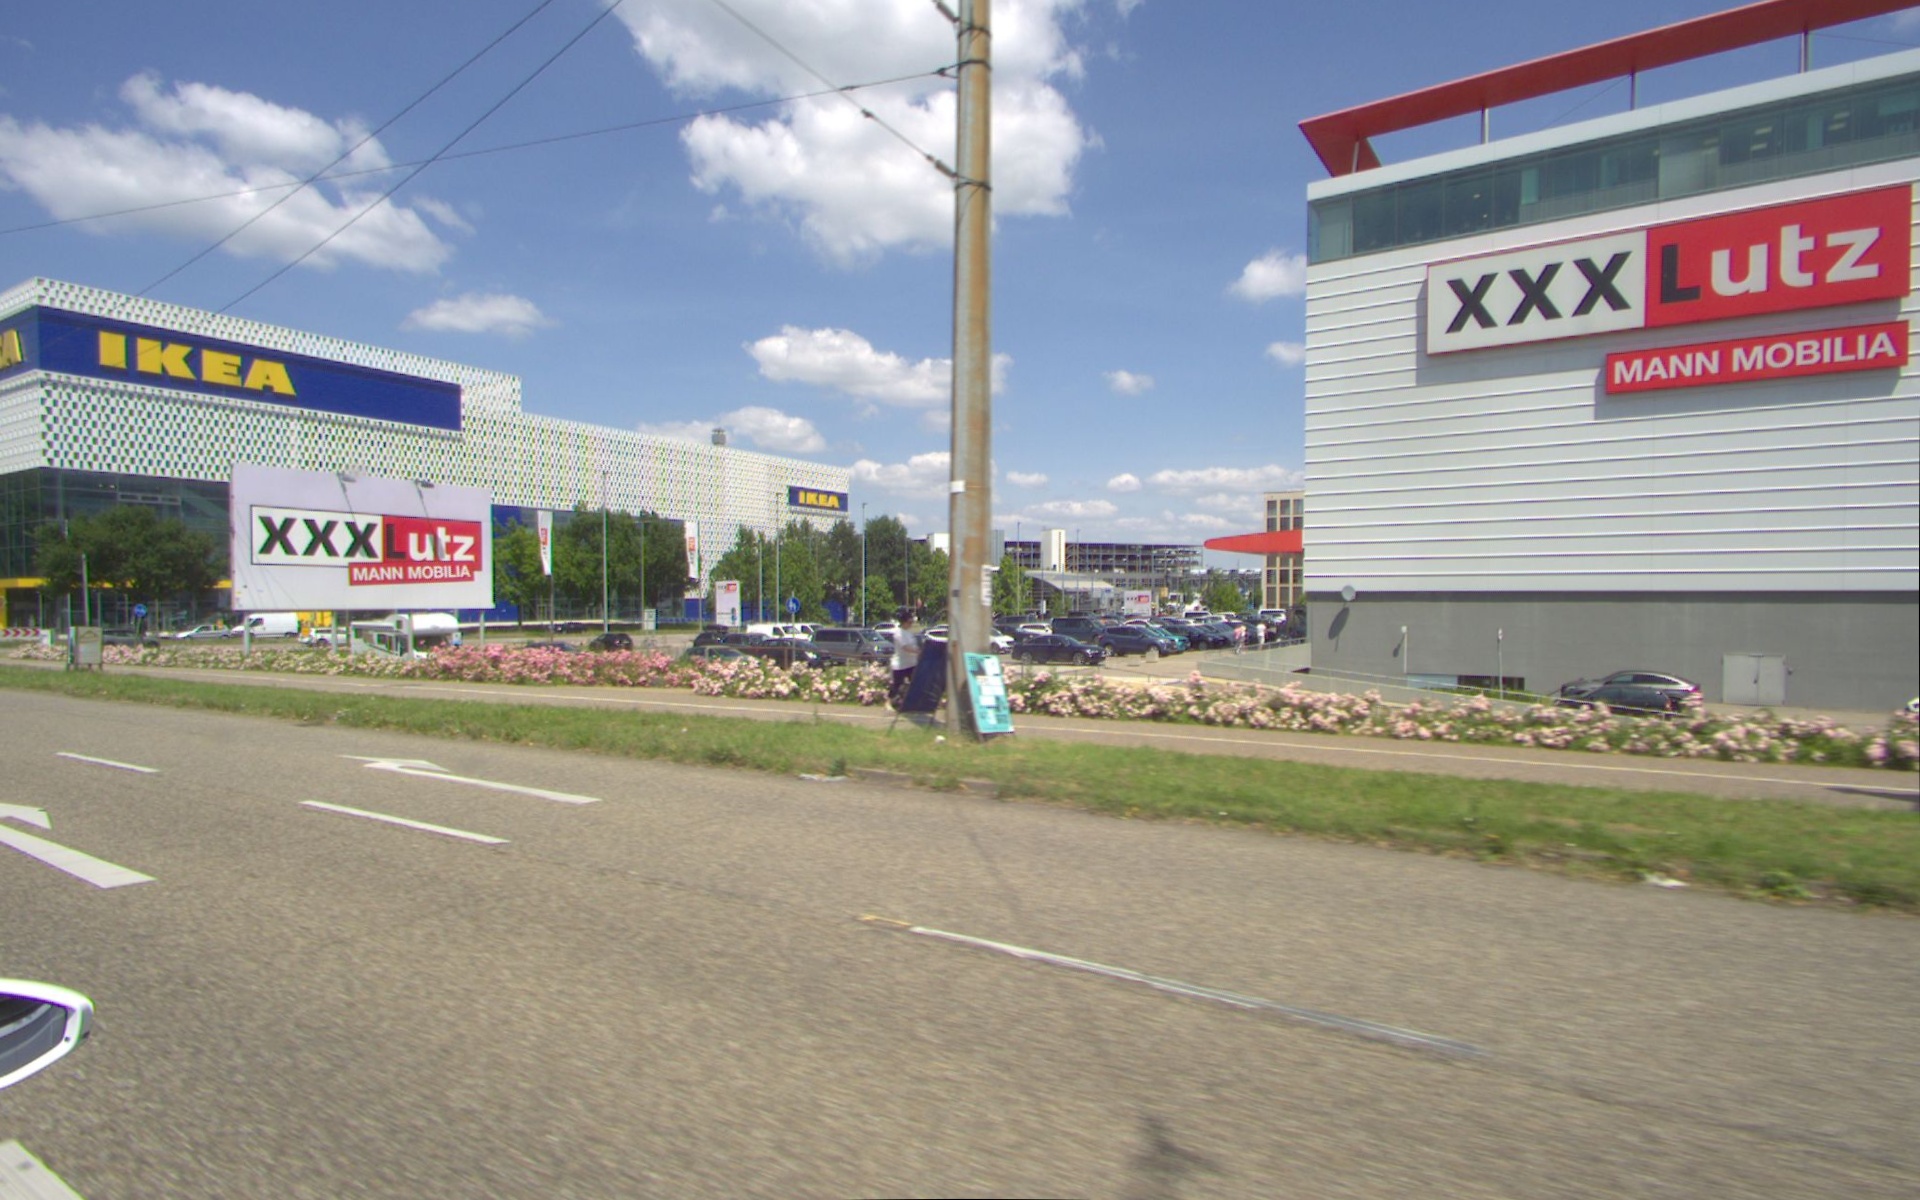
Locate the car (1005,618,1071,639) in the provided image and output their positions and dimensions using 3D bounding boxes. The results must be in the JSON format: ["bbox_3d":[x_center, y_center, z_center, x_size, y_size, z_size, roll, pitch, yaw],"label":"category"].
[{"bbox_3d":[6.231,2.299,80.280,4.930,1.631,1.990,-1,-1,33],"label":"car"}]

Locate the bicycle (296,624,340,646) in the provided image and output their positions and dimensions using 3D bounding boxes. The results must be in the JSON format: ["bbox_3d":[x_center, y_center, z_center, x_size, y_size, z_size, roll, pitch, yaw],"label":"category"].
[{"bbox_3d":[-45.122,2.455,70.360,0.976,1.500,2.415,0,-1,37],"label":"bicycle"}]

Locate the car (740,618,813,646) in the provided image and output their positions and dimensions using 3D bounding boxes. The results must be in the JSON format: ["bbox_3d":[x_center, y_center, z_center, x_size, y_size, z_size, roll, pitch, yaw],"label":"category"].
[{"bbox_3d":[-12.619,2.184,68.674,4.930,1.876,1.990,-1,-1,33],"label":"car"}]

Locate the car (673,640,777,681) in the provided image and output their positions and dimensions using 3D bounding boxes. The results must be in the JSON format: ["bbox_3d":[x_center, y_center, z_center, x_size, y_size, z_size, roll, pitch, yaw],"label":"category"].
[{"bbox_3d":[-10.234,2.579,43.580,4.242,1.517,1.988,-1,2,33],"label":"car"}]

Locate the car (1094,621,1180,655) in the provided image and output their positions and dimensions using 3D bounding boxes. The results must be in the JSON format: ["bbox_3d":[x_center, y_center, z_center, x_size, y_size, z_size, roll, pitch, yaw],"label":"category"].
[{"bbox_3d":[9.769,2.095,55.323,4.271,1.804,1.990,-1,-2,33],"label":"car"}]

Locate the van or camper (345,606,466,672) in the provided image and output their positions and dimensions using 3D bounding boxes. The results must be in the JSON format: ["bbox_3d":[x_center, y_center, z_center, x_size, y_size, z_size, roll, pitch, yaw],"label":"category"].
[{"bbox_3d":[-27.422,1.885,49.438,7.129,3.059,2.499,-1,-1,37],"label":"van or camper"}]

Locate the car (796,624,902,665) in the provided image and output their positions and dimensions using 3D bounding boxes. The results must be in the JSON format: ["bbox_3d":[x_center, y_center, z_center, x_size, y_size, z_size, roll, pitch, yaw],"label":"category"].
[{"bbox_3d":[-5.765,2.268,51.856,5.456,2.039,1.990,-1,-1,33],"label":"car"}]

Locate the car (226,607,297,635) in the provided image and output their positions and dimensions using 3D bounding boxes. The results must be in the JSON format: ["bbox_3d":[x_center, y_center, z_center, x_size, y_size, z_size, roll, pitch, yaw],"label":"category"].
[{"bbox_3d":[-60.726,1.854,87.087,1.975,2.338,4.742,0,-1,38],"label":"car"}]

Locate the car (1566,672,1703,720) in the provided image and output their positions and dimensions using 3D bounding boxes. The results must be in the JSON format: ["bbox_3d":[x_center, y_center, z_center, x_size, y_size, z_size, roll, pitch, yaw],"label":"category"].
[{"bbox_3d":[27.202,3.838,40.584,4.524,1.633,1.990,-1,-1,32],"label":"car"}]

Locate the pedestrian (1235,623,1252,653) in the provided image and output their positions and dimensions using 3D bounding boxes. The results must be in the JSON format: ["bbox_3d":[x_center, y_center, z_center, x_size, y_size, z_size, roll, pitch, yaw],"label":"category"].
[{"bbox_3d":[15.197,2.019,53.615,0.725,1.578,0.739,0,-1,30],"label":"pedestrian"}]

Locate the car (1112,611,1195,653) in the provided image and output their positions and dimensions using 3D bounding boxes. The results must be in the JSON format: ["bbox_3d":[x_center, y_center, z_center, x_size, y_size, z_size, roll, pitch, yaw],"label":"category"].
[{"bbox_3d":[11.130,1.821,57.631,4.271,2.357,1.990,0,-2,33],"label":"car"}]

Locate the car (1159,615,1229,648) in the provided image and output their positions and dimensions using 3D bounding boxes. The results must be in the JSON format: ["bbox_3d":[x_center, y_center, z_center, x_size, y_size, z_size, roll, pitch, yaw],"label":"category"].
[{"bbox_3d":[15.127,2.030,64.766,3.943,2.039,1.990,0,-1,32],"label":"car"}]

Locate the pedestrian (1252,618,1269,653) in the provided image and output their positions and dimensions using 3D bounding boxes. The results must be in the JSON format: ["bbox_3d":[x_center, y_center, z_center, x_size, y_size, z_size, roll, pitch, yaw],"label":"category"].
[{"bbox_3d":[16.243,1.897,54.101,0.725,1.893,0.739,0,-1,30],"label":"pedestrian"}]

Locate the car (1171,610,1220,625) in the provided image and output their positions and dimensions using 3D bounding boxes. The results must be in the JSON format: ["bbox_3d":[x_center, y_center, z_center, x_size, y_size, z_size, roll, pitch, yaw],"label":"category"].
[{"bbox_3d":[25.972,1.897,110.464,4.930,1.631,1.990,-1,-1,33],"label":"car"}]

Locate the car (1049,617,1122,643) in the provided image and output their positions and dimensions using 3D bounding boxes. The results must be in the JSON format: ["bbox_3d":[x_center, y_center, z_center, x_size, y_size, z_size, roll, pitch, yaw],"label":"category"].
[{"bbox_3d":[9.324,2.240,74.505,5.106,1.889,1.991,0,-1,31],"label":"car"}]

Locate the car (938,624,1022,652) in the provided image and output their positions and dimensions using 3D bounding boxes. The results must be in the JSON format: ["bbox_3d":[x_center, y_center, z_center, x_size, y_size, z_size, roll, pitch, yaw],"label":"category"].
[{"bbox_3d":[1.224,2.335,62.506,4.930,1.672,1.990,-1,-1,33],"label":"car"}]

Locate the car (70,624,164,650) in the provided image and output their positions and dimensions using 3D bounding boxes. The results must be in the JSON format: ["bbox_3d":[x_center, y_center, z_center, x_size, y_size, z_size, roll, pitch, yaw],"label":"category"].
[{"bbox_3d":[-52.164,2.296,62.067,1.961,1.505,4.146,1,-2,8],"label":"car"}]

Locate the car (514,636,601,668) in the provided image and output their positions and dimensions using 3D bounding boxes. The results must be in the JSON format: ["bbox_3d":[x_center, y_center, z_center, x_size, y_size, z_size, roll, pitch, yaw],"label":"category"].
[{"bbox_3d":[-21.695,2.759,53.935,4.702,1.558,1.989,-1,0,33],"label":"car"}]

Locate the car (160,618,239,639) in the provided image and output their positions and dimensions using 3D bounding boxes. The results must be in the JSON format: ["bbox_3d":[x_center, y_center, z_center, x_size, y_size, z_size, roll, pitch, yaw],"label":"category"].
[{"bbox_3d":[-58.811,2.209,77.525,1.974,1.505,4.485,0,-2,36],"label":"car"}]

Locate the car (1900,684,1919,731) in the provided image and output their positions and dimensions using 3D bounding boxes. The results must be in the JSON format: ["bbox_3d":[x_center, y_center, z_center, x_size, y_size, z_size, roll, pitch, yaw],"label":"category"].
[{"bbox_3d":[37.338,4.008,36.641,3.943,1.633,1.990,-1,-1,32],"label":"car"}]

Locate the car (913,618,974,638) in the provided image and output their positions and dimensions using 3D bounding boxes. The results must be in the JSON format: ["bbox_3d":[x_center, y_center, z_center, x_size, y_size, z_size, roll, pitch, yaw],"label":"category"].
[{"bbox_3d":[-1.423,2.393,84.942,4.930,1.631,1.990,-1,-1,33],"label":"car"}]

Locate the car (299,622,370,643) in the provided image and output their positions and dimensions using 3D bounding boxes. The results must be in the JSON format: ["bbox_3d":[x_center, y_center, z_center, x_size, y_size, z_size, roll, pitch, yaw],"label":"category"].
[{"bbox_3d":[-48.991,2.542,78.447,1.979,1.505,4.352,-1,-3,44],"label":"car"}]

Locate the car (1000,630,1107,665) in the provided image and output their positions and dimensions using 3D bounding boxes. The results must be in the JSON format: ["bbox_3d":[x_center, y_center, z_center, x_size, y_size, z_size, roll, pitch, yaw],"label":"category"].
[{"bbox_3d":[4.592,2.290,49.355,4.930,1.631,1.990,-1,-1,33],"label":"car"}]

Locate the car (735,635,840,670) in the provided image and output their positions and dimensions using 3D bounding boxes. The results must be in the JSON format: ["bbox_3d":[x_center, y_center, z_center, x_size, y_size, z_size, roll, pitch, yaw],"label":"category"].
[{"bbox_3d":[-8.239,2.468,47.741,4.930,1.570,1.990,-1,-1,33],"label":"car"}]

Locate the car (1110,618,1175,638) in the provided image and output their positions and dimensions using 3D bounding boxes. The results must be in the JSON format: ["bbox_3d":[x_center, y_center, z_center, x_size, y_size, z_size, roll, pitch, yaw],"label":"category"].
[{"bbox_3d":[15.080,2.291,82.683,4.930,1.631,1.990,-1,-1,33],"label":"car"}]

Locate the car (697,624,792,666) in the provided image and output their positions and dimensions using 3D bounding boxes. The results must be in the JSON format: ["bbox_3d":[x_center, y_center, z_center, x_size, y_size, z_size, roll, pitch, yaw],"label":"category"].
[{"bbox_3d":[-11.372,2.328,52.821,4.930,2.041,1.989,-1,1,33],"label":"car"}]

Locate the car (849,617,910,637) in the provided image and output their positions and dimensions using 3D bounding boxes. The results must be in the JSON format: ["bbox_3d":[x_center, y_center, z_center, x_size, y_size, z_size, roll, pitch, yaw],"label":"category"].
[{"bbox_3d":[-6.842,2.304,85.211,4.922,1.631,1.993,0,-1,27],"label":"car"}]

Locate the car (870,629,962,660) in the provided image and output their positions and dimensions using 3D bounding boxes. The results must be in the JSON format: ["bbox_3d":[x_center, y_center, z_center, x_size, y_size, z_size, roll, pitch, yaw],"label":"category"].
[{"bbox_3d":[-2.475,2.423,55.840,4.930,1.631,1.990,-1,-1,33],"label":"car"}]

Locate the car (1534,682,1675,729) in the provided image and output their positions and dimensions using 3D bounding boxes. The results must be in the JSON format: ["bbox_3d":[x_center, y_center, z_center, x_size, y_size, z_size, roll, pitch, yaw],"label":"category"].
[{"bbox_3d":[23.717,3.856,37.044,4.288,1.416,1.991,-1,-1,31],"label":"car"}]

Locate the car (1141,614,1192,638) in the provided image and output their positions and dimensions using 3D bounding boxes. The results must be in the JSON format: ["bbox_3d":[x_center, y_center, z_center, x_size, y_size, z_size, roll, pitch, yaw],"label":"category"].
[{"bbox_3d":[18.088,2.277,87.774,3.943,2.040,1.990,-1,-1,32],"label":"car"}]

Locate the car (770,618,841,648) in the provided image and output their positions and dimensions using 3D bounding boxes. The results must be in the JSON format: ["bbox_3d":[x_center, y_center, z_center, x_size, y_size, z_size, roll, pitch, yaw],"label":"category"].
[{"bbox_3d":[-10.930,2.332,70.649,4.930,2.033,1.990,-1,-1,33],"label":"car"}]

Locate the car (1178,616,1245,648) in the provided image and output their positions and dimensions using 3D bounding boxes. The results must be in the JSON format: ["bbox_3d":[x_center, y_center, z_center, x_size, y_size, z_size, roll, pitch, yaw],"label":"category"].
[{"bbox_3d":[16.786,2.115,66.804,3.943,2.040,1.990,-1,-1,32],"label":"car"}]

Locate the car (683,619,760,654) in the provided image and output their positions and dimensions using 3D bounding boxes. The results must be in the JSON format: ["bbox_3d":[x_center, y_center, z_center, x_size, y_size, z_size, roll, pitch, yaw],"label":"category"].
[{"bbox_3d":[-15.407,2.341,64.615,4.930,2.162,1.990,-1,-1,33],"label":"car"}]

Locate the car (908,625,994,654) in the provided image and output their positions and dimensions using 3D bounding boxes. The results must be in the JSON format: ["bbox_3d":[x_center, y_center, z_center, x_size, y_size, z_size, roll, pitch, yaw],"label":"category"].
[{"bbox_3d":[-0.572,2.361,60.345,4.930,1.631,1.990,-1,-1,33],"label":"car"}]

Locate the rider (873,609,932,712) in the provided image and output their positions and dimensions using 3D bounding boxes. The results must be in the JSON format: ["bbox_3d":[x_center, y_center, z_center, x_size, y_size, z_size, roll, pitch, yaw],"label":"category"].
[{"bbox_3d":[-0.849,0.881,14.878,0.609,1.476,0.668,0,-1,32],"label":"rider"}]

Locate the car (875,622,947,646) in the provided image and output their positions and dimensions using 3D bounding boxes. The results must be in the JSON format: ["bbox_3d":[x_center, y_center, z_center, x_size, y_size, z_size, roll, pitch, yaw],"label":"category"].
[{"bbox_3d":[-3.494,2.406,71.610,4.930,1.631,1.990,-1,-1,33],"label":"car"}]

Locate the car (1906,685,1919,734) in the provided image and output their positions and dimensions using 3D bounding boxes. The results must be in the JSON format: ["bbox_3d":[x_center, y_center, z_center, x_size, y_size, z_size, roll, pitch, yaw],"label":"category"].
[{"bbox_3d":[36.016,3.853,34.199,5.073,1.633,1.990,-1,-1,32],"label":"car"}]

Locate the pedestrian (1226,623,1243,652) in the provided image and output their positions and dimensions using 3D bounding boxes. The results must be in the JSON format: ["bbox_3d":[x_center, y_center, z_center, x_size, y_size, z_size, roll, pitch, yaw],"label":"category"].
[{"bbox_3d":[15.026,2.036,54.761,0.725,1.578,0.739,0,-1,30],"label":"pedestrian"}]
